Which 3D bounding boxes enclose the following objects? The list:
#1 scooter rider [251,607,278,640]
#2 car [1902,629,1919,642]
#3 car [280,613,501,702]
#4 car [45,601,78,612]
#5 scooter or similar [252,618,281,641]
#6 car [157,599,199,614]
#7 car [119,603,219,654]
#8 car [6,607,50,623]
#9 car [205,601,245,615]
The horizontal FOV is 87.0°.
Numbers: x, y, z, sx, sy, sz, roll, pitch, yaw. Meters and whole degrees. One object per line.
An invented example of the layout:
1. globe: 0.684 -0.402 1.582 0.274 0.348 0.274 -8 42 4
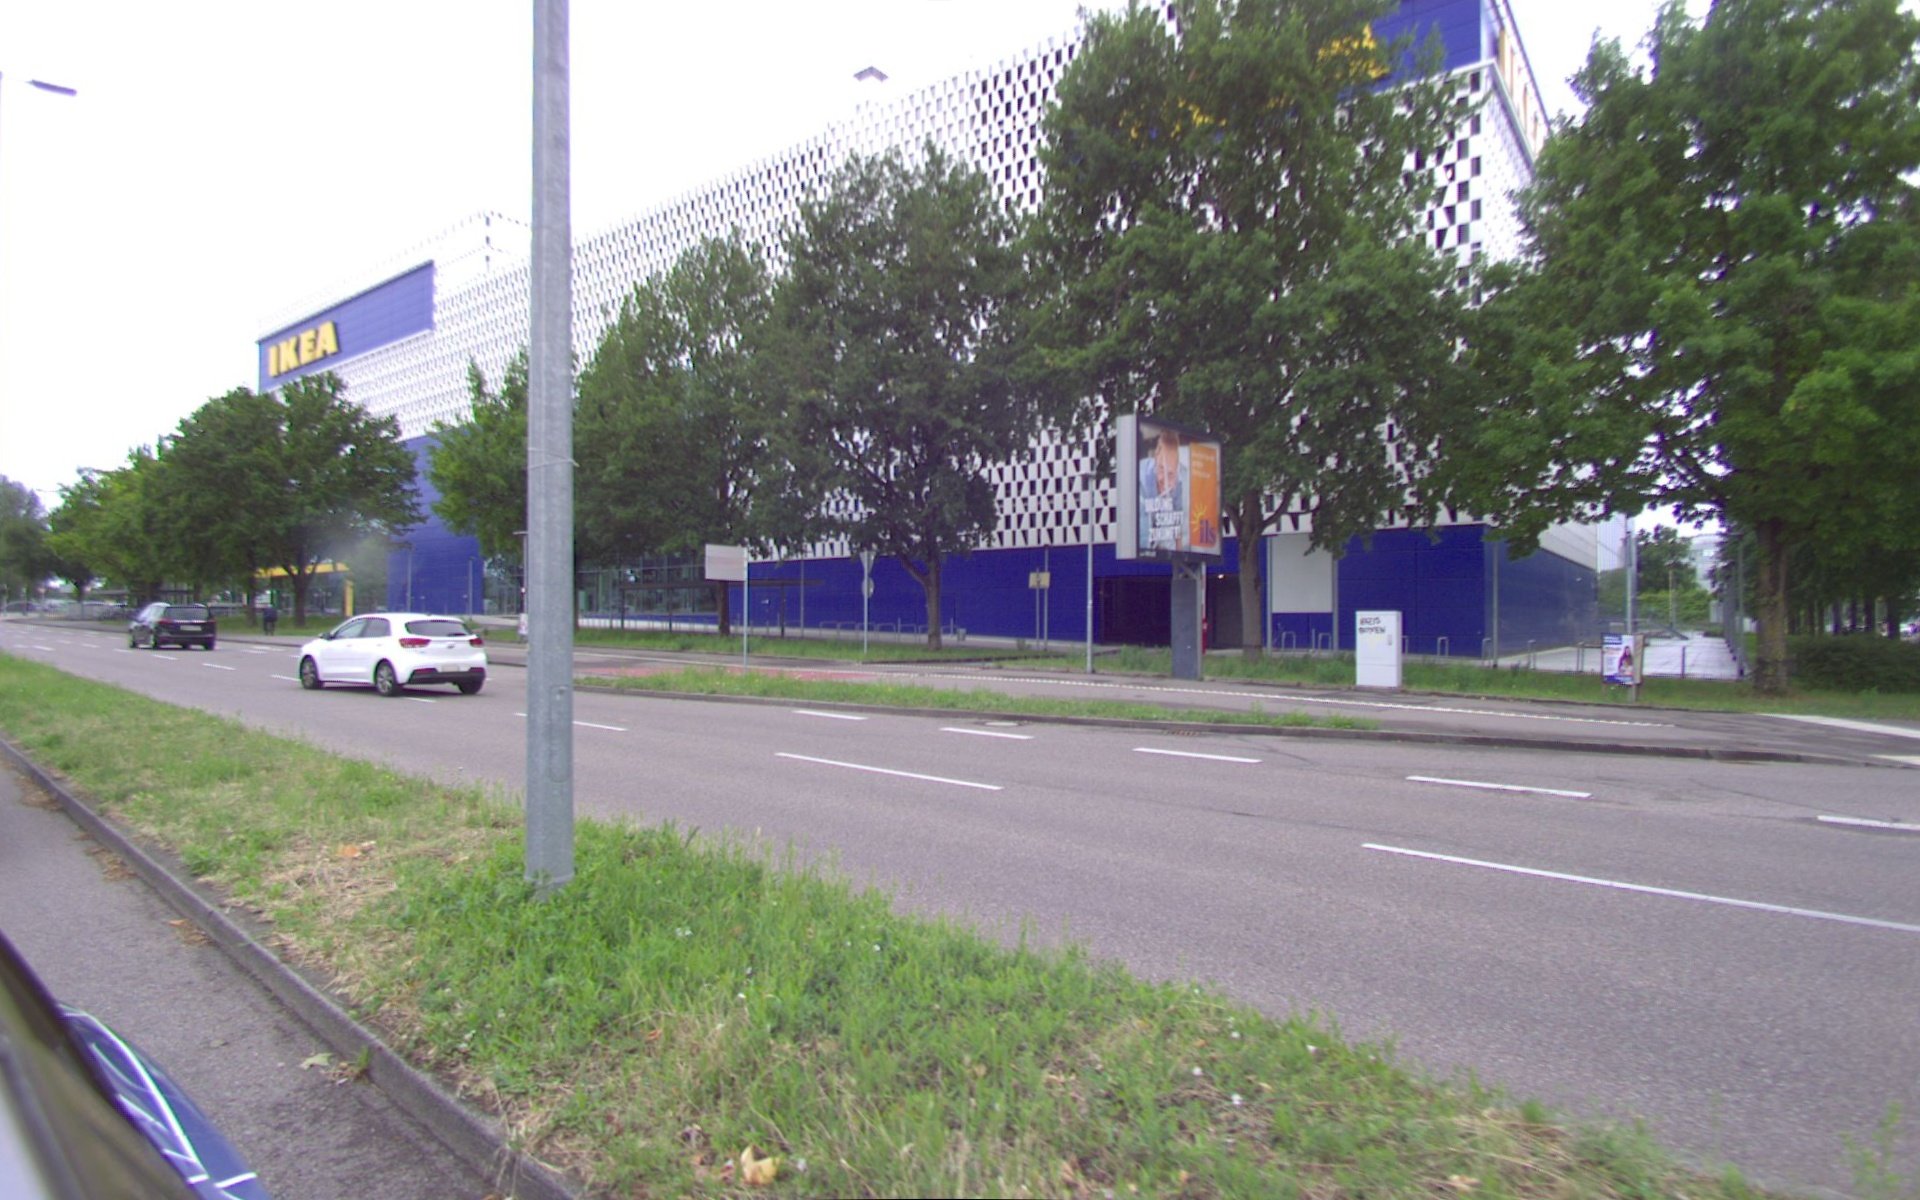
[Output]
1. scooter rider: -36.736 1.241 53.451 1.033 1.733 0.791 0 0 24
2. car: 112.145 4.164 118.968 1.862 1.473 4.272 -3 -2 41
3. car: -10.536 1.002 18.688 3.916 1.463 1.769 0 -2 29
4. car: -163.745 1.129 184.491 1.741 1.837 4.239 0 1 37
5. scooter or similar: -36.539 1.557 53.349 1.417 1.134 0.585 0 3 24
6. car: -89.005 0.748 115.200 1.741 1.652 3.522 0 1 37
7. car: -28.336 0.996 36.205 4.356 1.668 1.824 0 -3 39
8. car: -121.440 1.929 131.868 1.998 2.029 3.948 0 1 38
9. car: -100.063 1.060 137.741 1.994 1.829 3.956 0 1 33
